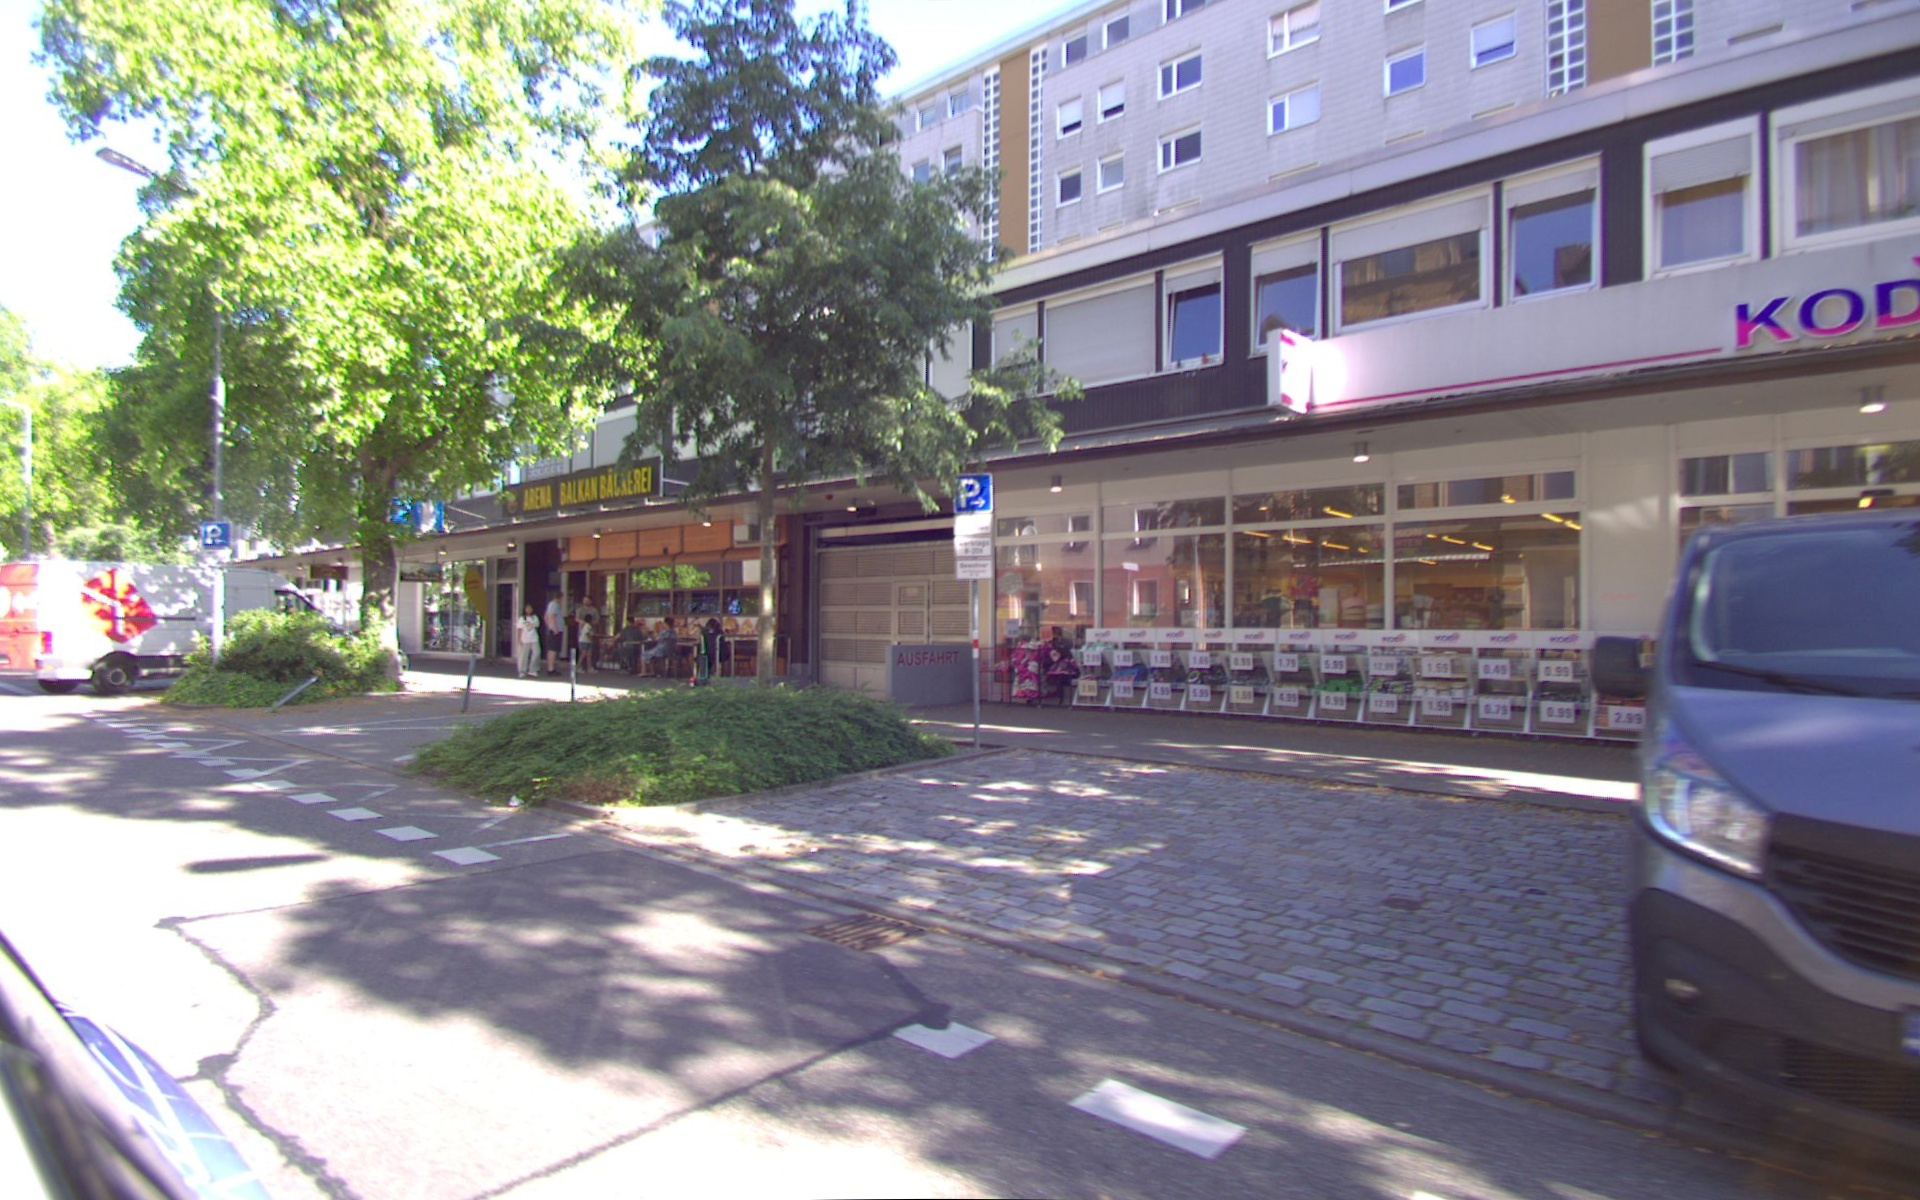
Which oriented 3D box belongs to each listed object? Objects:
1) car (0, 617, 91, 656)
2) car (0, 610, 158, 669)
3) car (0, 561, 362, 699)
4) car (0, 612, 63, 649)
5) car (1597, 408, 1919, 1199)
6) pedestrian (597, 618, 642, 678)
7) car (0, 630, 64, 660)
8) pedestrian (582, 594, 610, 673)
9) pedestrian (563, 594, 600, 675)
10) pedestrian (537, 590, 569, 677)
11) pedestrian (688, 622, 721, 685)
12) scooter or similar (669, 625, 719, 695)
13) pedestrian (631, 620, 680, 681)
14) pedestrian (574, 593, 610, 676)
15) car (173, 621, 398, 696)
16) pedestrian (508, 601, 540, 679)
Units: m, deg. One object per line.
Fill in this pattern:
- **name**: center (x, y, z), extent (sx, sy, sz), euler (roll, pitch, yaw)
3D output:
- **car**: center (-44.413, 1.726, 47.913), extent (1.872, 1.791, 4.721), euler (-2, -1, 39)
- **car**: center (-31.623, 1.354, 35.682), extent (1.872, 1.953, 4.979), euler (-2, -1, 40)
- **car**: center (-16.484, 0.625, 21.703), extent (1.985, 2.493, 6.560), euler (-1, -2, 20)
- **car**: center (-53.357, 1.696, 56.305), extent (1.908, 1.984, 4.933), euler (-2, -2, 39)
- **car**: center (4.233, 0.562, 4.126), extent (2.014, 1.989, 5.238), euler (-2, -2, 40)
- **pedestrian**: center (-7.858, 1.087, 23.368), extent (0.953, 1.351, 0.558), euler (-1, -2, 39)
- **car**: center (-46.424, 2.188, 49.259), extent (1.758, 1.409, 3.947), euler (-2, -3, 39)
- **pedestrian**: center (-8.958, 0.825, 24.897), extent (0.492, 1.918, 0.448), euler (-1, -2, 39)
- **pedestrian**: center (-9.059, 0.825, 24.212), extent (0.579, 1.918, 0.588), euler (-2, -3, 39)
- **pedestrian**: center (-9.258, 0.755, 23.025), extent (0.590, 1.950, 0.589), euler (1, -2, -28)
- **pedestrian**: center (-5.121, 1.066, 20.278), extent (0.636, 1.250, 0.325), euler (-1, -2, 38)
- **scooter or similar**: center (-4.958, 1.093, 18.888), extent (0.452, 1.232, 1.315), euler (0, 0, 7)
- **pedestrian**: center (-6.524, 1.065, 21.667), extent (0.897, 1.273, 0.602), euler (-1, -2, 38)
- **pedestrian**: center (-8.642, 0.797, 23.759), extent (0.579, 1.918, 0.588), euler (-1, -1, 40)
- **car**: center (-14.038, 1.155, 21.198), extent (1.830, 1.431, 3.557), euler (-1, -2, 40)
- **pedestrian**: center (-9.851, 0.894, 22.869), extent (0.590, 1.725, 0.589), euler (1, -2, -28)
